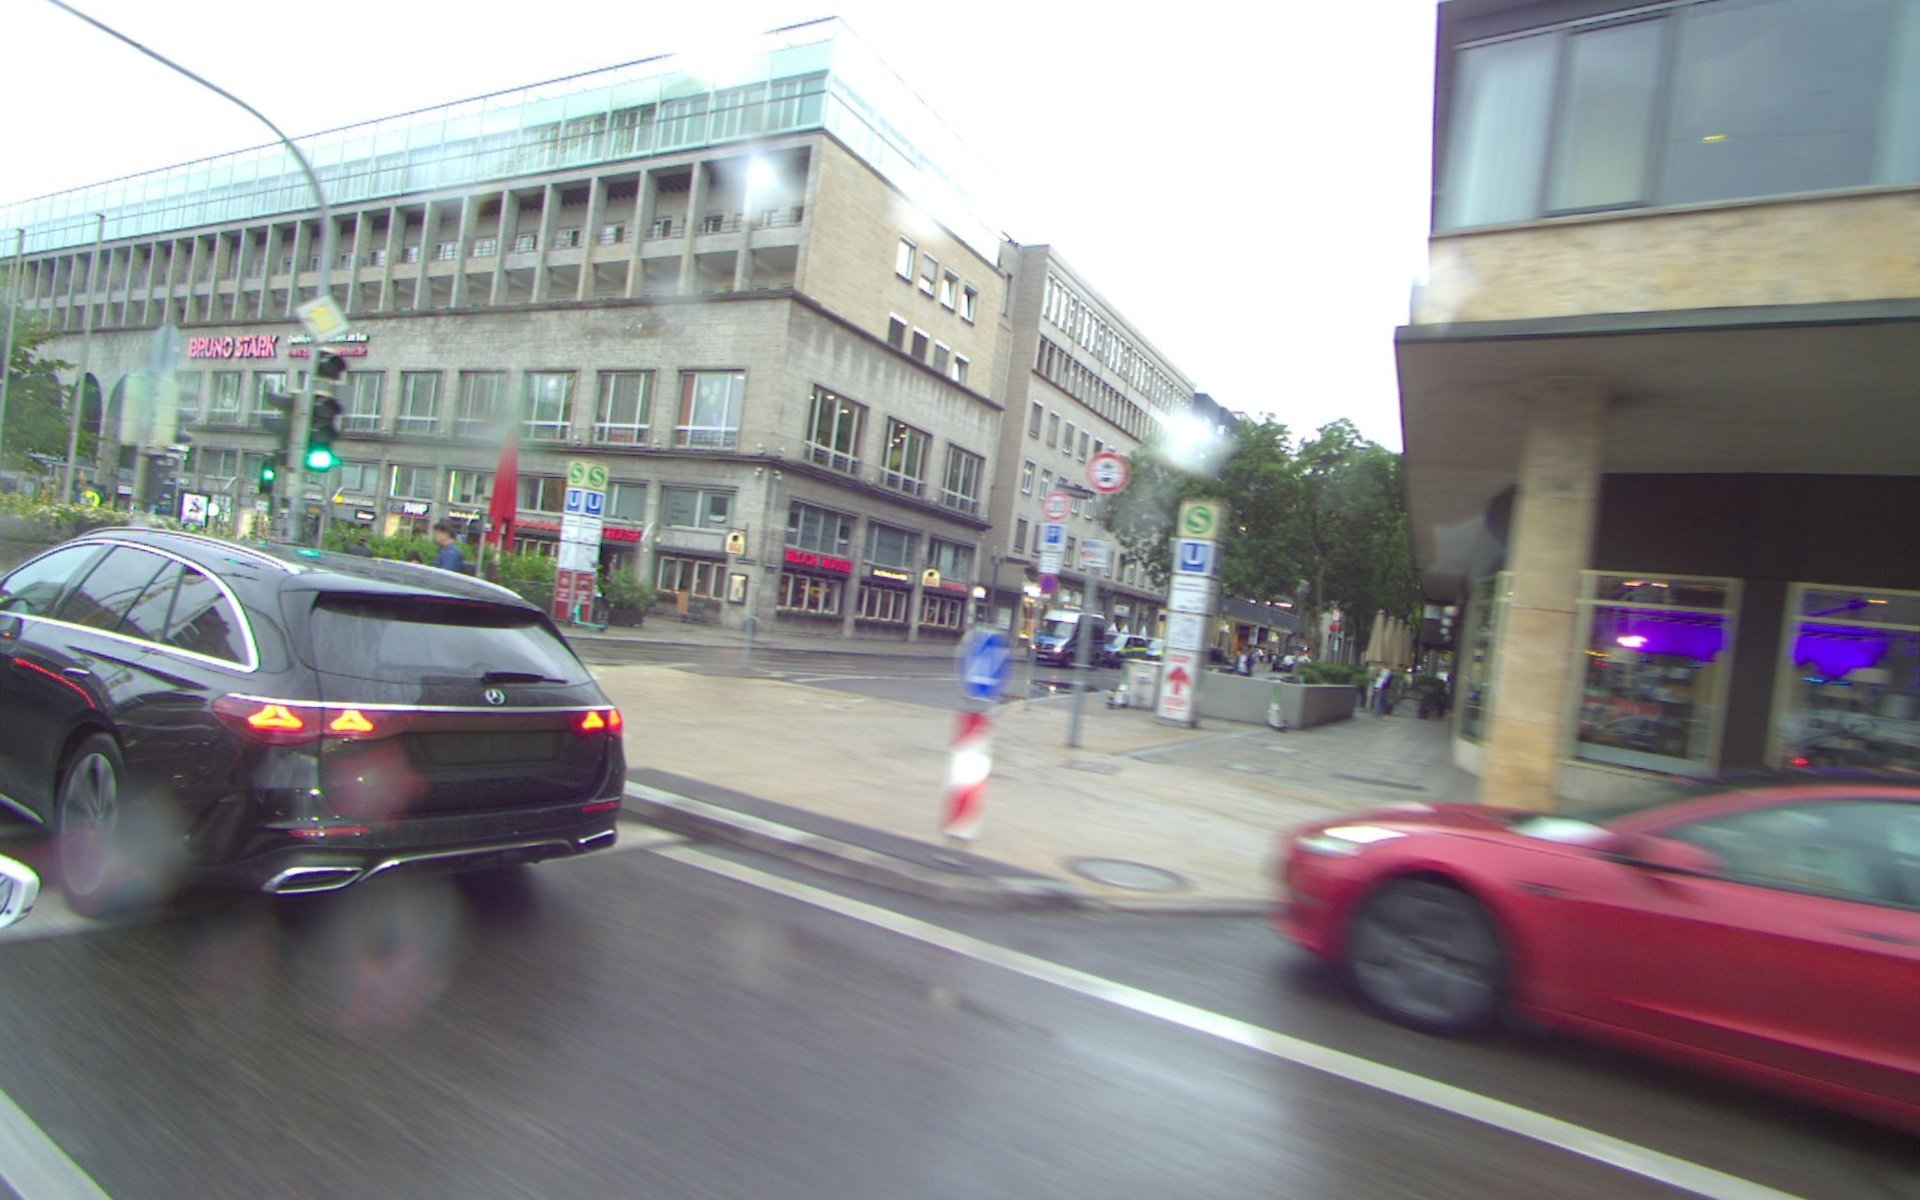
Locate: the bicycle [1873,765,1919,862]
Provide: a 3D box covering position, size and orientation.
[{"bbox_3d":[12.131,2.624,11.444,2.431,1.058,0.657,6,-2,32],"label":"bicycle"}]

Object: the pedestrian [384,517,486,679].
[{"bbox_3d":[-6.171,-0.008,11.861,0.768,1.776,0.503,7,-2,-15],"label":"pedestrian"}]

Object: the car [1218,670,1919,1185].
[{"bbox_3d":[3.679,1.368,4.456,4.451,1.503,1.879,6,-3,31],"label":"car"}]

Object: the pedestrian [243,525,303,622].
[{"bbox_3d":[-13.212,-0.500,19.365,0.561,1.772,0.679,7,-2,-15],"label":"pedestrian"}]

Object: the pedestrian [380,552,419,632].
[{"bbox_3d":[-11.157,-0.152,20.029,0.460,1.534,0.448,8,-2,-25],"label":"pedestrian"}]

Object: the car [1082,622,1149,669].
[{"bbox_3d":[8.459,2.501,54.300,1.966,2.065,4.558,6,-3,29],"label":"car"}]

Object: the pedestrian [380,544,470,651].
[{"bbox_3d":[-9.355,-0.027,17.626,0.642,1.774,1.097,6,1,29],"label":"pedestrian"}]

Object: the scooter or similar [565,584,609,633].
[{"bbox_3d":[-10.154,0.237,27.406,1.000,1.203,0.291,7,-2,13],"label":"scooter or similar"}]

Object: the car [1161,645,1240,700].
[{"bbox_3d":[10.333,3.143,42.978,1.966,1.994,4.639,7,-1,29],"label":"car"}]

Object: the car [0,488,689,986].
[{"bbox_3d":[-3.758,0.368,5.138,4.551,1.518,1.798,6,-3,31],"label":"car"}]

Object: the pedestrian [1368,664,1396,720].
[{"bbox_3d":[13.596,2.980,32.409,0.607,1.719,0.574,6,-2,31],"label":"pedestrian"}]

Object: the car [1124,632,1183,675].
[{"bbox_3d":[11.554,3.226,59.893,1.966,2.065,4.484,6,-3,29],"label":"car"}]

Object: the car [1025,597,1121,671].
[{"bbox_3d":[5.403,1.666,47.225,1.966,2.792,6.184,6,-3,30],"label":"car"}]

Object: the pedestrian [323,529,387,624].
[{"bbox_3d":[-11.850,-0.447,19.708,0.458,1.737,0.757,6,-2,28],"label":"pedestrian"}]
